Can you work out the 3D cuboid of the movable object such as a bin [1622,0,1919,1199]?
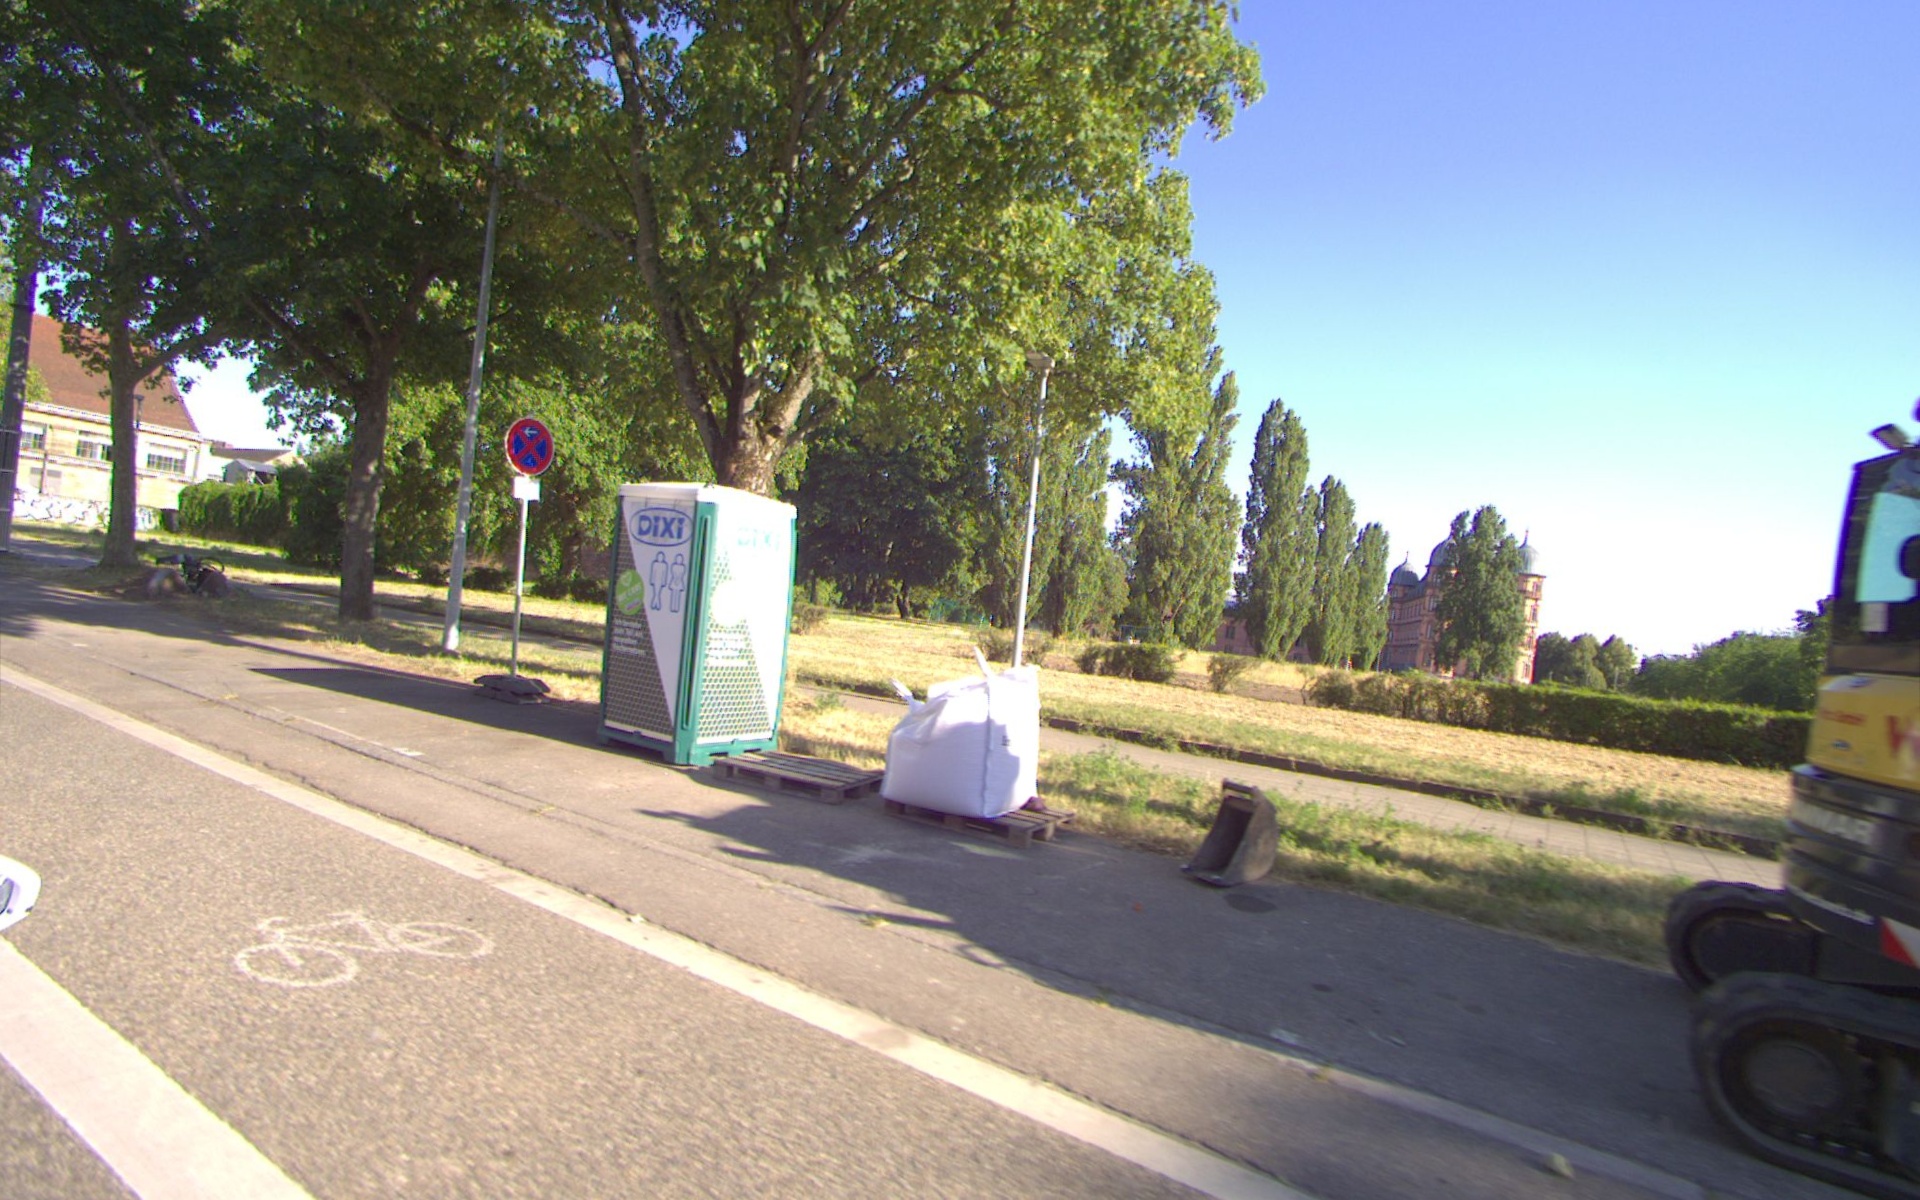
[{"bbox_3d":[6.700,0.284,2.882,7.470,4.030,3.339,6,2,30],"label":"movable object such as a bin"}]
